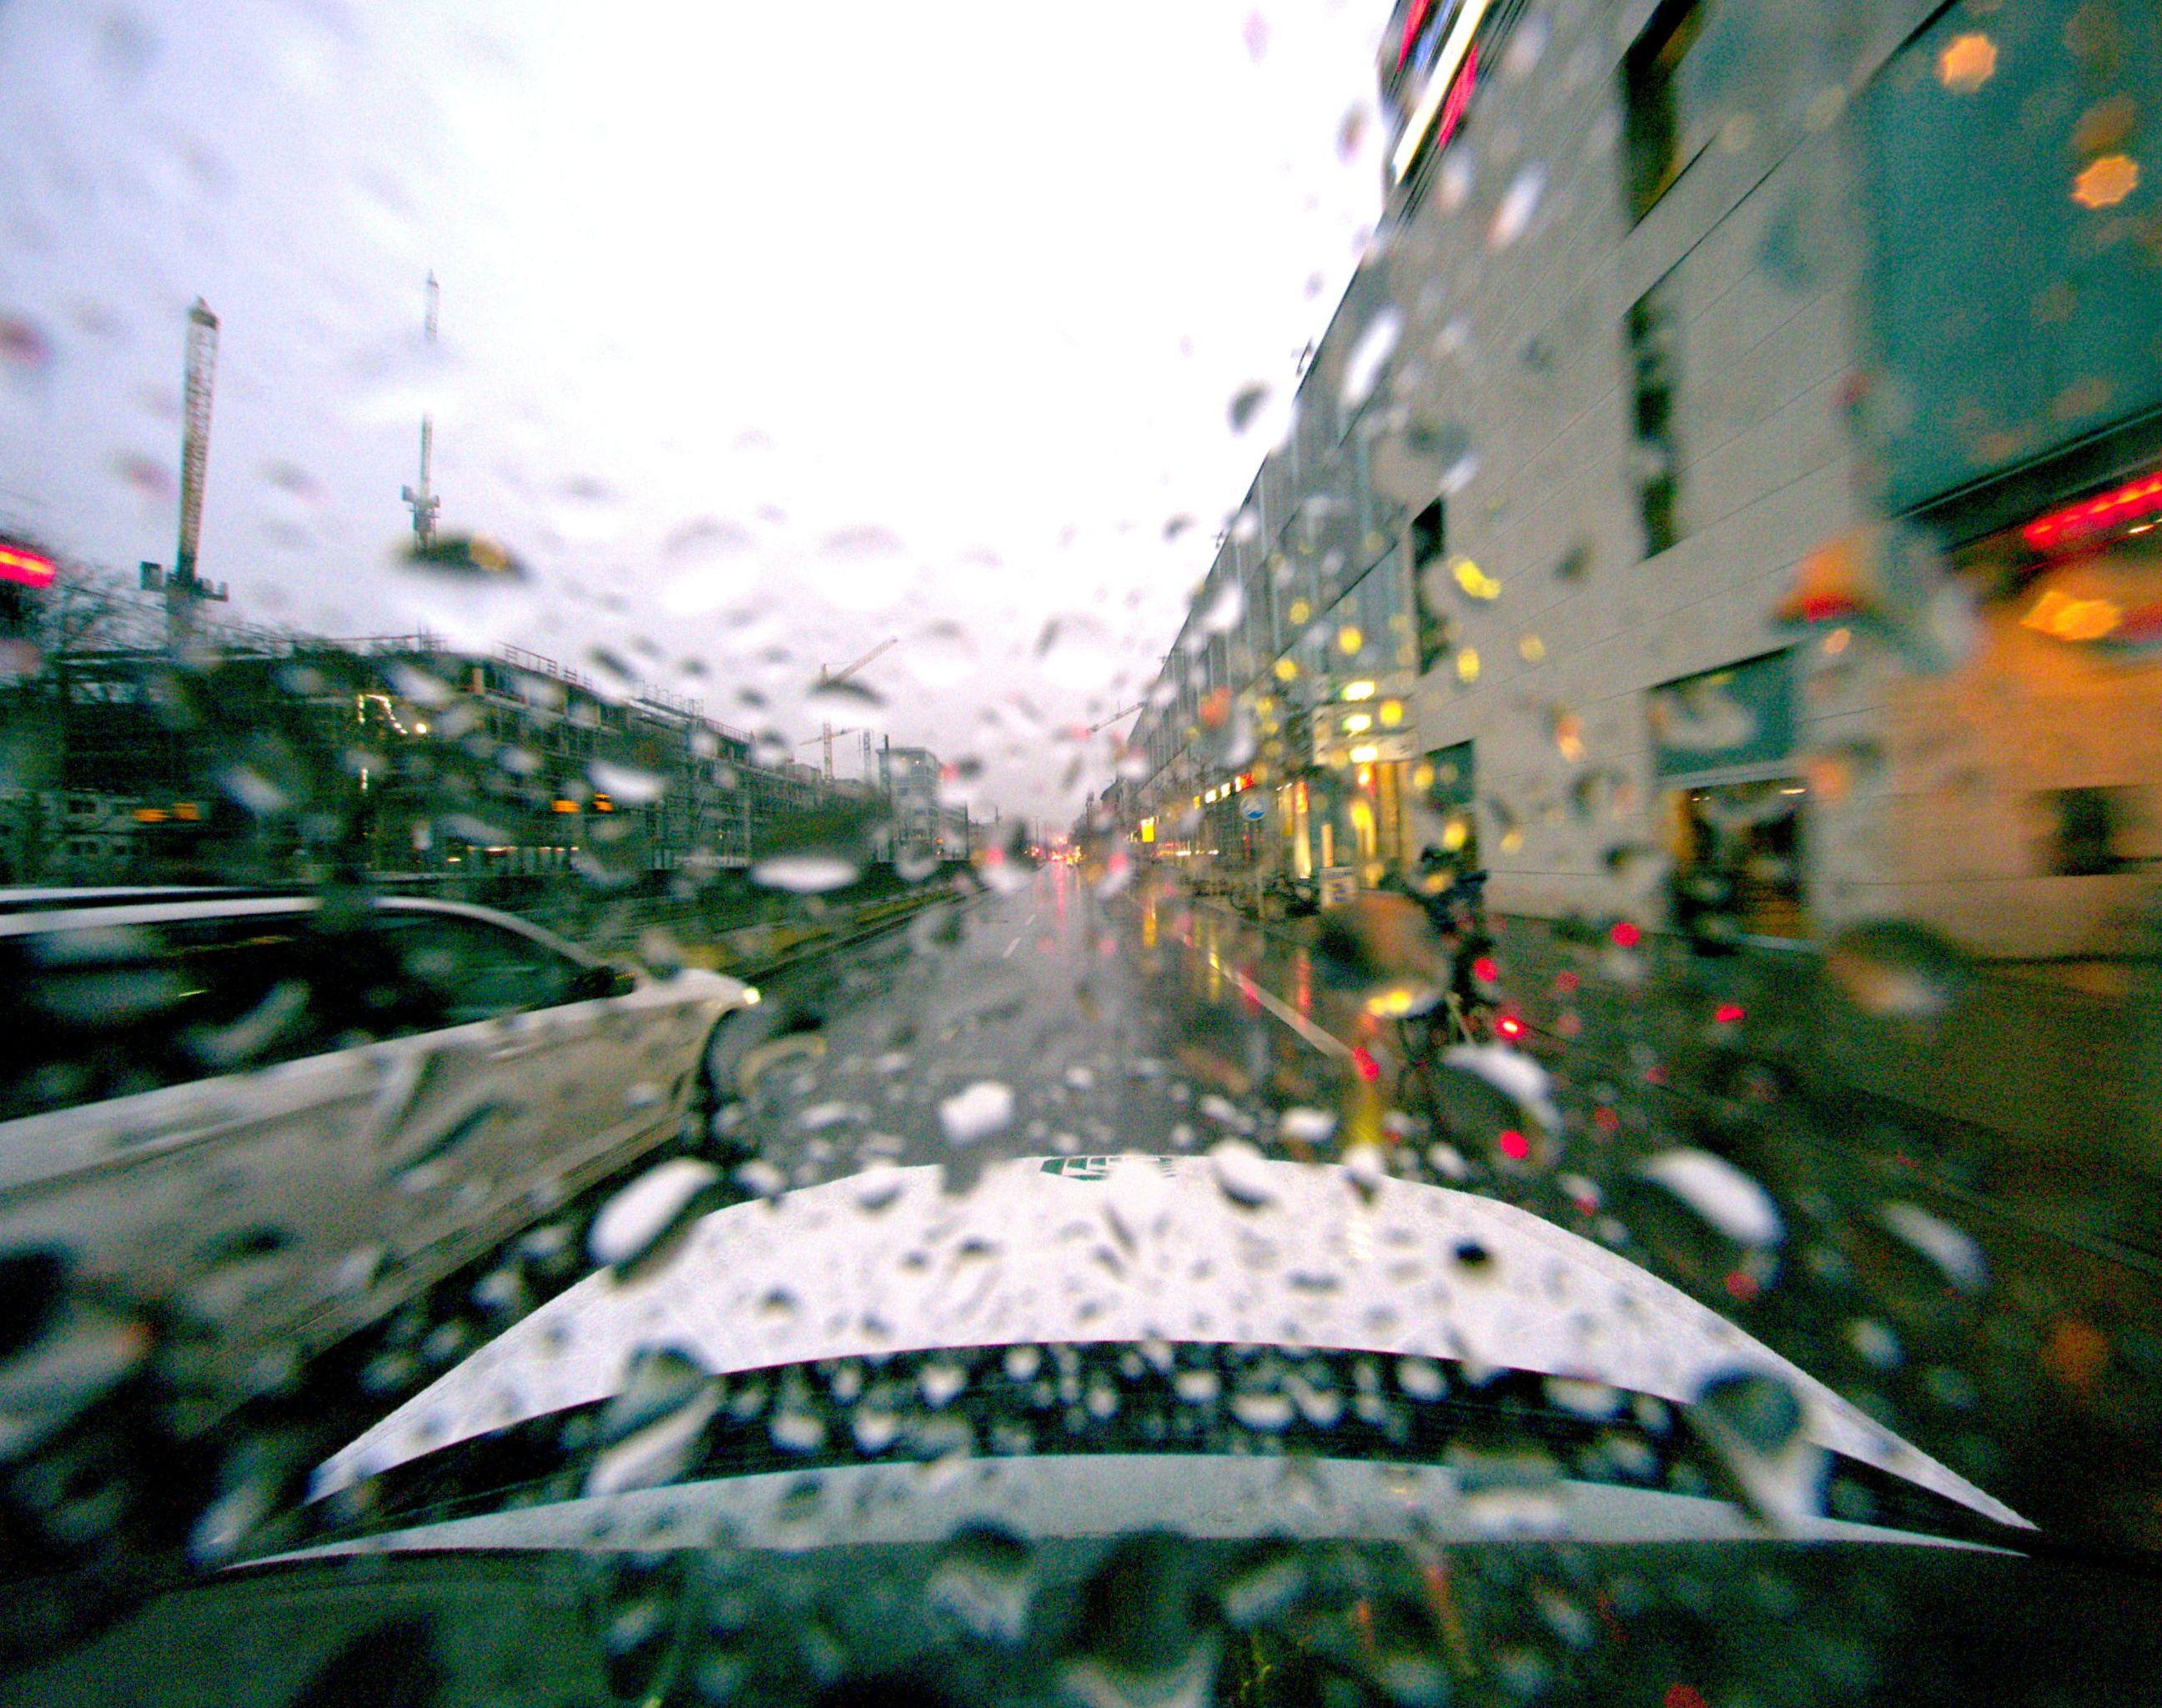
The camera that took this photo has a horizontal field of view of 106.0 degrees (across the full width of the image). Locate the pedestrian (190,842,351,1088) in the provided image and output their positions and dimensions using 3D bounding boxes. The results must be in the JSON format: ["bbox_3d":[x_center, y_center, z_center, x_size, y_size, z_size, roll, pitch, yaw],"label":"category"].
[{"bbox_3d":[-6.147,0.783,6.222,0.655,1.718,0.743,-1,0,-28],"label":"pedestrian"}]

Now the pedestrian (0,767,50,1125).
[{"bbox_3d":[-7.129,0.571,4.749,1.055,2.207,0.949,-1,0,-28],"label":"pedestrian"}]

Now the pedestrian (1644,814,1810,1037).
[{"bbox_3d":[5.331,0.553,6.755,0.706,1.694,0.721,-4,0,-13],"label":"pedestrian"}]

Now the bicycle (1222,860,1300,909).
[{"bbox_3d":[4.901,0.821,22.245,1.898,1.175,0.666,-4,0,-2],"label":"bicycle"}]

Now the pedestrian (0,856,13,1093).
[{"bbox_3d":[-8.126,0.880,5.491,0.863,1.714,0.758,-1,0,-28],"label":"pedestrian"}]

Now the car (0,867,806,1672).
[{"bbox_3d":[-2.906,0.845,2.961,1.844,1.465,4.951,-1,0,3],"label":"car"}]

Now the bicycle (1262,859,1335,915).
[{"bbox_3d":[5.178,0.780,19.453,0.670,1.261,1.540,-1,0,-44],"label":"bicycle"}]

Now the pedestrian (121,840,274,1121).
[{"bbox_3d":[-5.944,0.791,5.487,0.659,1.735,0.609,-2,-2,35],"label":"pedestrian"}]

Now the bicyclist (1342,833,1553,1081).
[{"bbox_3d":[2.353,0.618,5.394,0.938,1.463,1.068,-1,0,4],"label":"bicyclist"}]

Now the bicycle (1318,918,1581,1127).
[{"bbox_3d":[2.376,1.030,5.662,0.938,0.999,2.243,-1,-1,4],"label":"bicycle"}]
